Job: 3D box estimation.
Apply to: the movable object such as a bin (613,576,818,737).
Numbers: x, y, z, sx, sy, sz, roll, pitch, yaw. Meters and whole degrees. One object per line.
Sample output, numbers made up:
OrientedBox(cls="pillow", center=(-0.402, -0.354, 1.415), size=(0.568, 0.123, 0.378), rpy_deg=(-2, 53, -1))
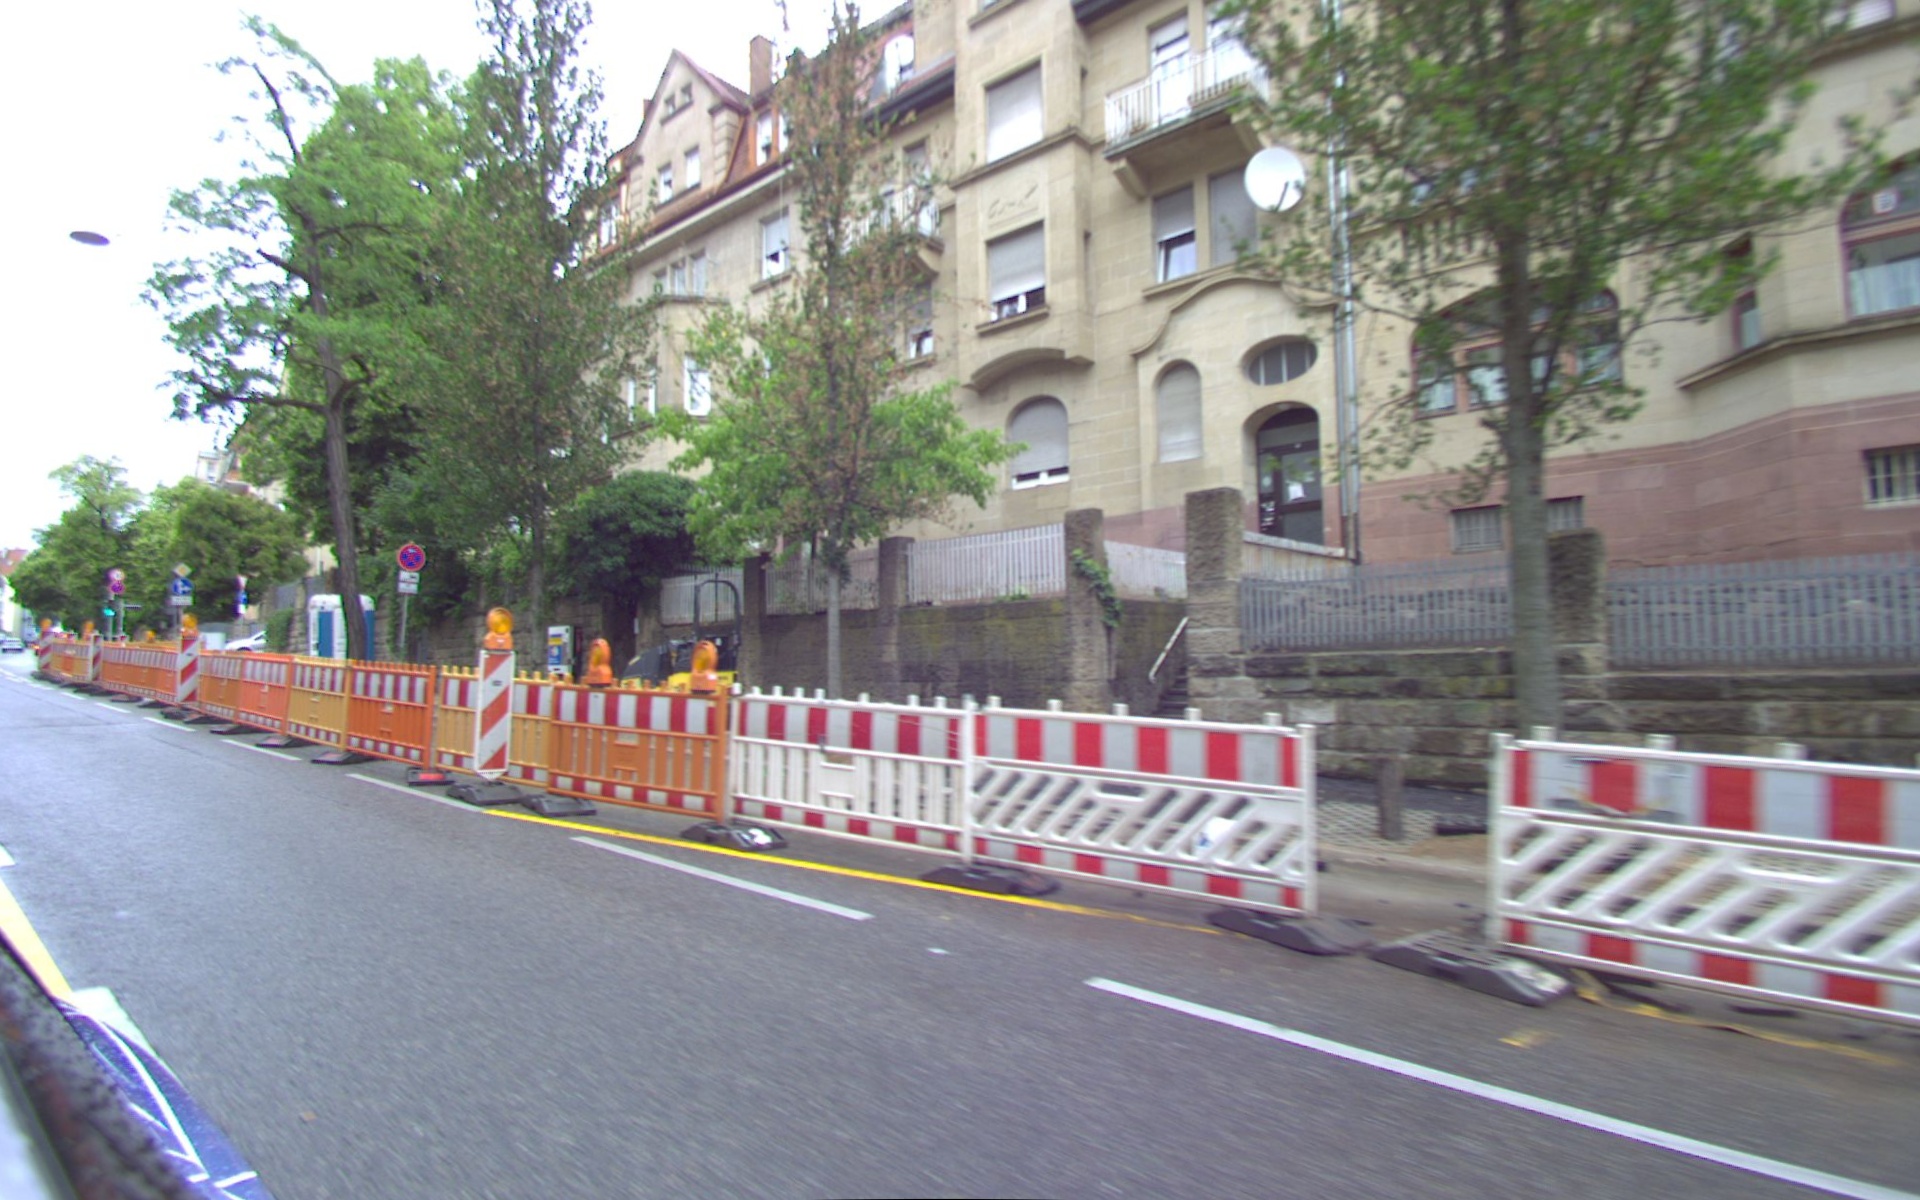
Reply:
OrientedBox(cls="movable object such as a bin", center=(-3.955, 0.886, 16.275), size=(2.816, 2.317, 1.971), rpy_deg=(-2, -4, 45))

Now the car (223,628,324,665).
OrientedBox(cls="car", center=(-32.362, 2.156, 47.751), size=(3.812, 1.419, 1.830), rpy_deg=(-2, 1, -37))

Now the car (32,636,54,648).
OrientedBox(cls="car", center=(-121.362, 5.534, 133.935), size=(1.689, 1.491, 4.123), rpy_deg=(5, -5, -36))

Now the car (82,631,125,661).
OrientedBox(cls="car", center=(-48.631, 2.571, 57.421), size=(1.720, 1.571, 4.307), rpy_deg=(0, -1, -42))

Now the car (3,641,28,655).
OrientedBox(cls="car", center=(-107.509, 5.414, 115.171), size=(1.749, 1.529, 4.106), rpy_deg=(3, -3, -39))

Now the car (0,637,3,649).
OrientedBox(cls="car", center=(-130.265, 5.700, 135.975), size=(1.896, 1.573, 4.020), rpy_deg=(7, -6, -38))

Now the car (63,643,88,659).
OrientedBox(cls="car", center=(-91.599, 5.267, 104.763), size=(1.721, 1.571, 4.305), rpy_deg=(0, -2, -44))

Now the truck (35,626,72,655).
OrientedBox(cls="truck", center=(-128.769, 5.847, 143.879), size=(2.612, 3.884, 9.329), rpy_deg=(4, -5, -35))

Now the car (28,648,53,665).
OrientedBox(cls="car", center=(-101.701, 6.253, 111.982), size=(1.793, 1.529, 4.554), rpy_deg=(5, -9, -40))
